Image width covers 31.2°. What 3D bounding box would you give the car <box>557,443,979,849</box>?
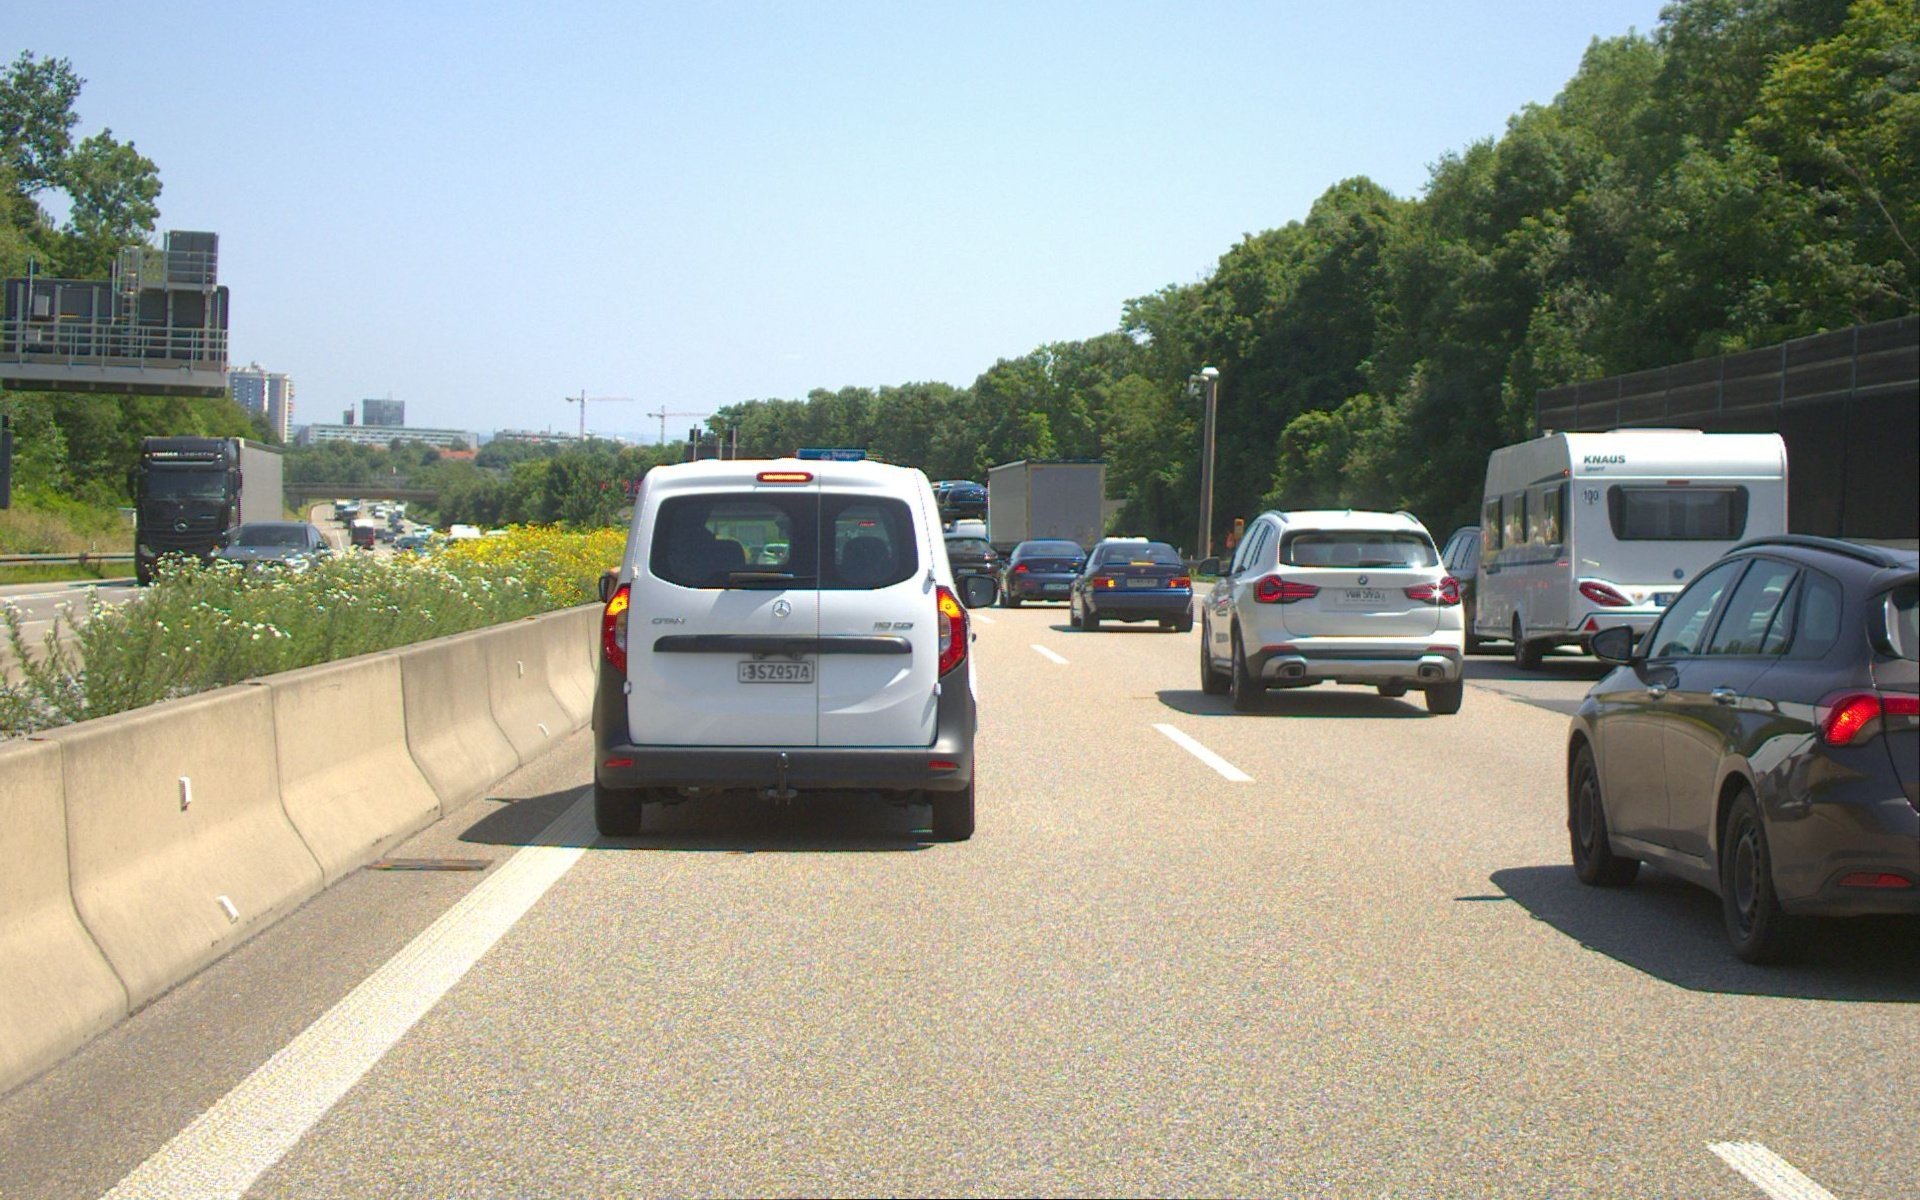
[{"bbox_3d":[-0.858,0.161,17.512,1.802,1.802,4.000,1,1,1],"label":"car"}]

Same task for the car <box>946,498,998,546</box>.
[{"bbox_3d":[0.490,-3.304,146.250,1.993,2.007,4.001,0,1,-3],"label":"car"}]

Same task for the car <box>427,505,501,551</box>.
[{"bbox_3d":[-16.718,-2.417,116.134,1.993,1.493,4.248,1,1,-2],"label":"car"}]

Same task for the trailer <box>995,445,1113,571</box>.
[{"bbox_3d":[3.052,-3.018,114.868,3.081,3.972,10.324,1,1,-3],"label":"trailer"}]

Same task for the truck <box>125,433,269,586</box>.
[{"bbox_3d":[-20.332,-2.391,91.856,2.828,3.925,6.008,1,1,-4],"label":"truck"}]

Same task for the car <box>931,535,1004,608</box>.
[{"bbox_3d":[0.183,-0.802,95.982,1.824,1.982,4.001,1,1,-3],"label":"car"}]

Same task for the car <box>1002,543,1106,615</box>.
[{"bbox_3d":[1.901,-0.441,70.889,1.824,1.419,4.001,1,1,-3],"label":"car"}]

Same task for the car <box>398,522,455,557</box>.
[{"bbox_3d":[-23.381,-2.660,150.753,1.993,1.486,4.000,1,1,-2],"label":"car"}]

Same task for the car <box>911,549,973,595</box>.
[{"bbox_3d":[-0.594,-0.927,111.455,1.824,1.442,4.001,1,1,-3],"label":"car"}]

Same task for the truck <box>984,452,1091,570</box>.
[{"bbox_3d":[2.671,-3.109,122.018,3.081,3.972,9.648,1,1,-3],"label":"truck"}]

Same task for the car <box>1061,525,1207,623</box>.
[{"bbox_3d":[2.623,-0.412,52.738,1.824,1.419,4.001,1,1,-3],"label":"car"}]

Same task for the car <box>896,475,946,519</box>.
[{"bbox_3d":[-1.858,-4.886,162.961,1.993,2.007,4.001,0,1,-7],"label":"car"}]

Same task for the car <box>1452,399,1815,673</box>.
[{"bbox_3d":[7.296,-0.692,38.060,2.478,2.756,6.221,1,1,-3],"label":"car"}]

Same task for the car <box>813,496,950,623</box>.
[{"bbox_3d":[-1.249,-0.630,53.133,1.993,1.853,4.001,1,1,-3],"label":"car"}]

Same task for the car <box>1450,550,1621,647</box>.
[{"bbox_3d":[8.835,-0.055,53.080,1.824,1.419,4.000,1,1,-2],"label":"car"}]

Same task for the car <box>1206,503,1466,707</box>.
[{"bbox_3d":[3.160,-0.003,29.582,1.871,1.603,3.879,1,1,1],"label":"car"}]

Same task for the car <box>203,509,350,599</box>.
[{"bbox_3d":[-13.016,-0.887,65.692,1.993,1.622,4.475,1,1,-1],"label":"car"}]

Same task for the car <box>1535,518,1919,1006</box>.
[{"bbox_3d":[3.533,0.466,12.896,1.838,1.508,4.402,1,1,-2],"label":"car"}]
